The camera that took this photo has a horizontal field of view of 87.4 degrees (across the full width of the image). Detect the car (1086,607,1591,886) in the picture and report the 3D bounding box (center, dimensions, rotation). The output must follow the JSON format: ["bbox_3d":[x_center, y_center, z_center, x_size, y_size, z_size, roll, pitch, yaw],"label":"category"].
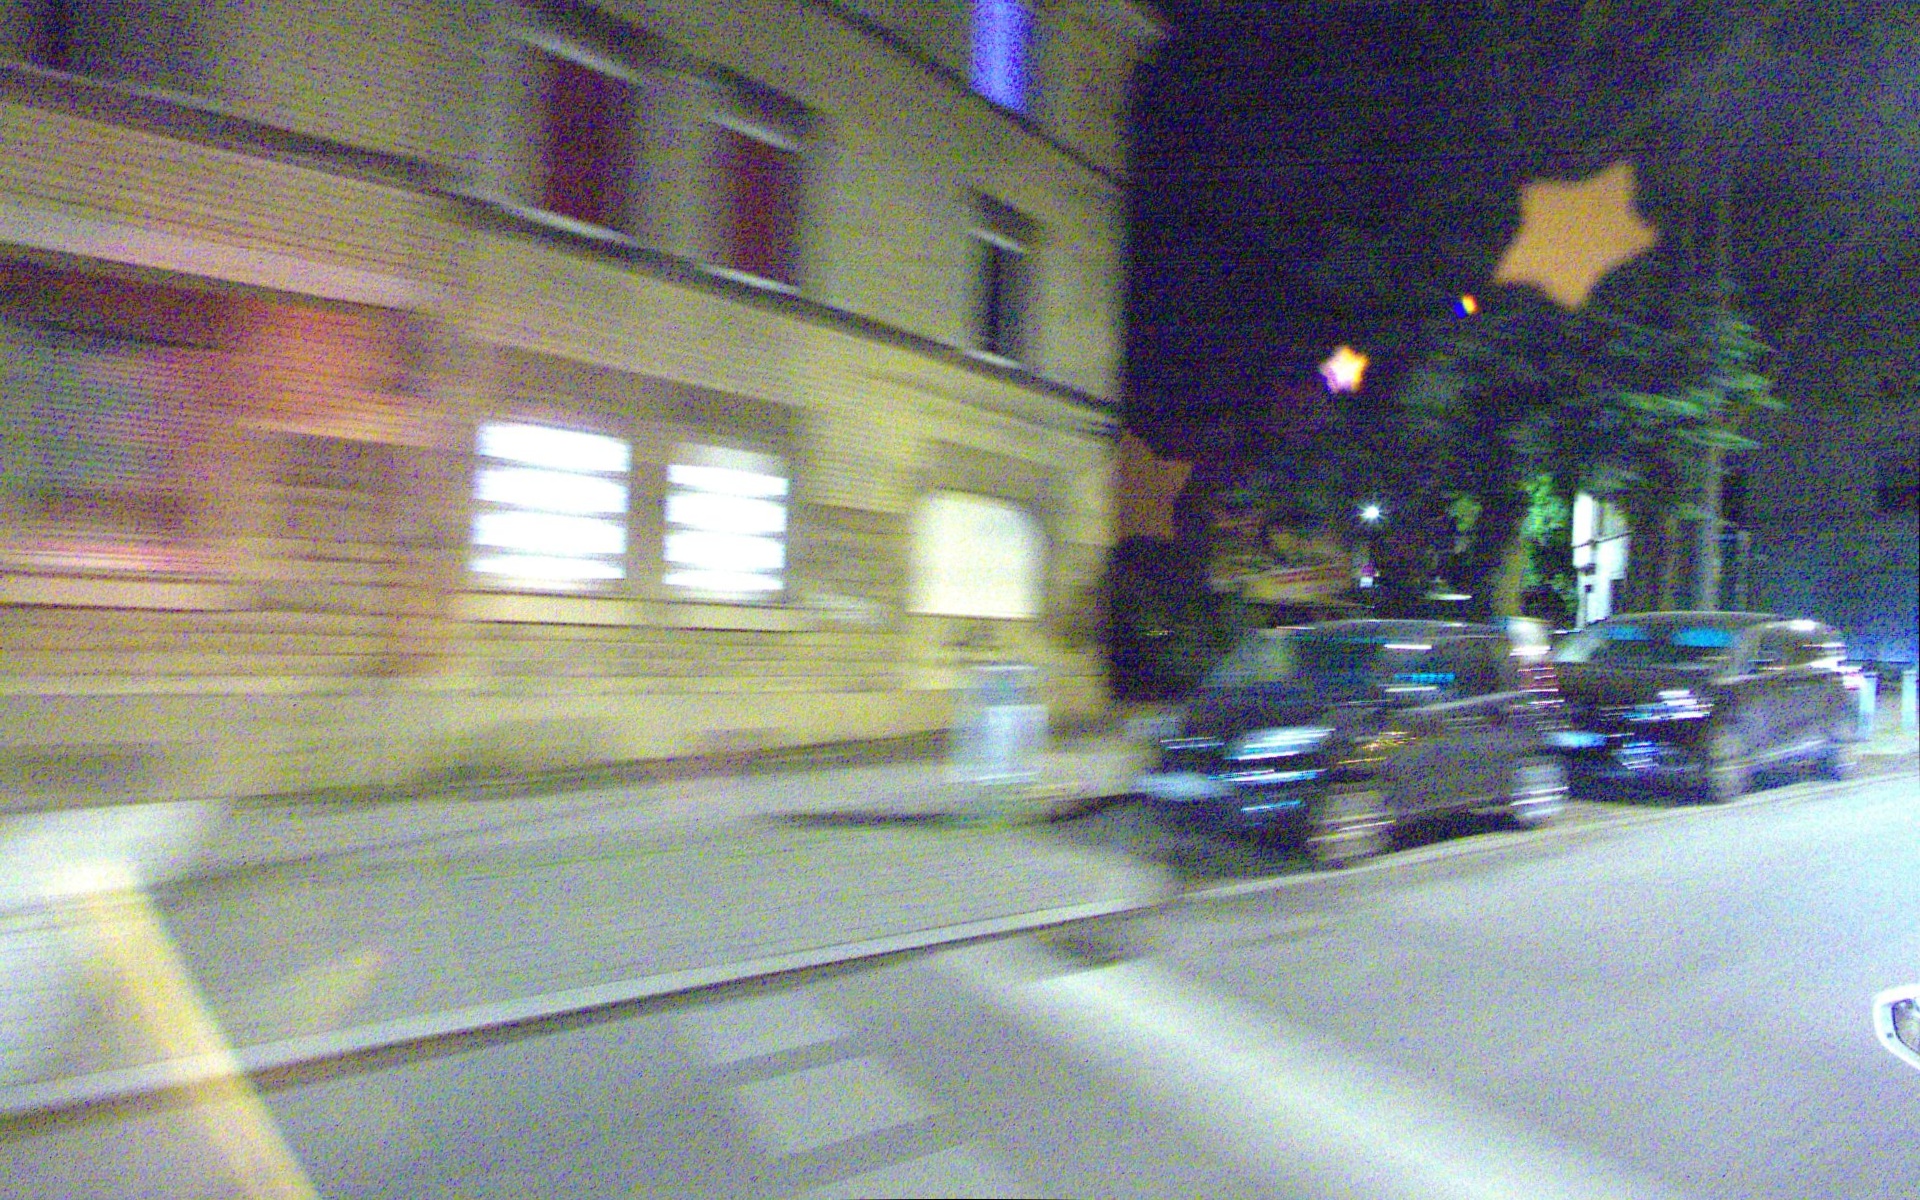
[{"bbox_3d":[2.873,0.884,7.399,3.663,1.535,1.637,2,0,-34],"label":"car"}]

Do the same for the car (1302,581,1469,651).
[{"bbox_3d":[11.311,0.419,26.749,3.921,1.628,1.753,2,2,-21],"label":"car"}]

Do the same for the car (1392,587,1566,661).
[{"bbox_3d":[12.486,0.578,24.122,4.139,1.559,1.747,2,3,-31],"label":"car"}]

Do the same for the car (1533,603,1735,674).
[{"bbox_3d":[17.003,0.919,25.585,1.735,1.444,3.981,2,2,-20],"label":"car"}]

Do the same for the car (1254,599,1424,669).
[{"bbox_3d":[8.071,0.718,21.312,3.523,1.334,1.547,2,0,-32],"label":"car"}]

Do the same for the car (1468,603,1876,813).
[{"bbox_3d":[7.315,0.923,10.167,4.622,1.672,1.837,1,0,-34],"label":"car"}]
